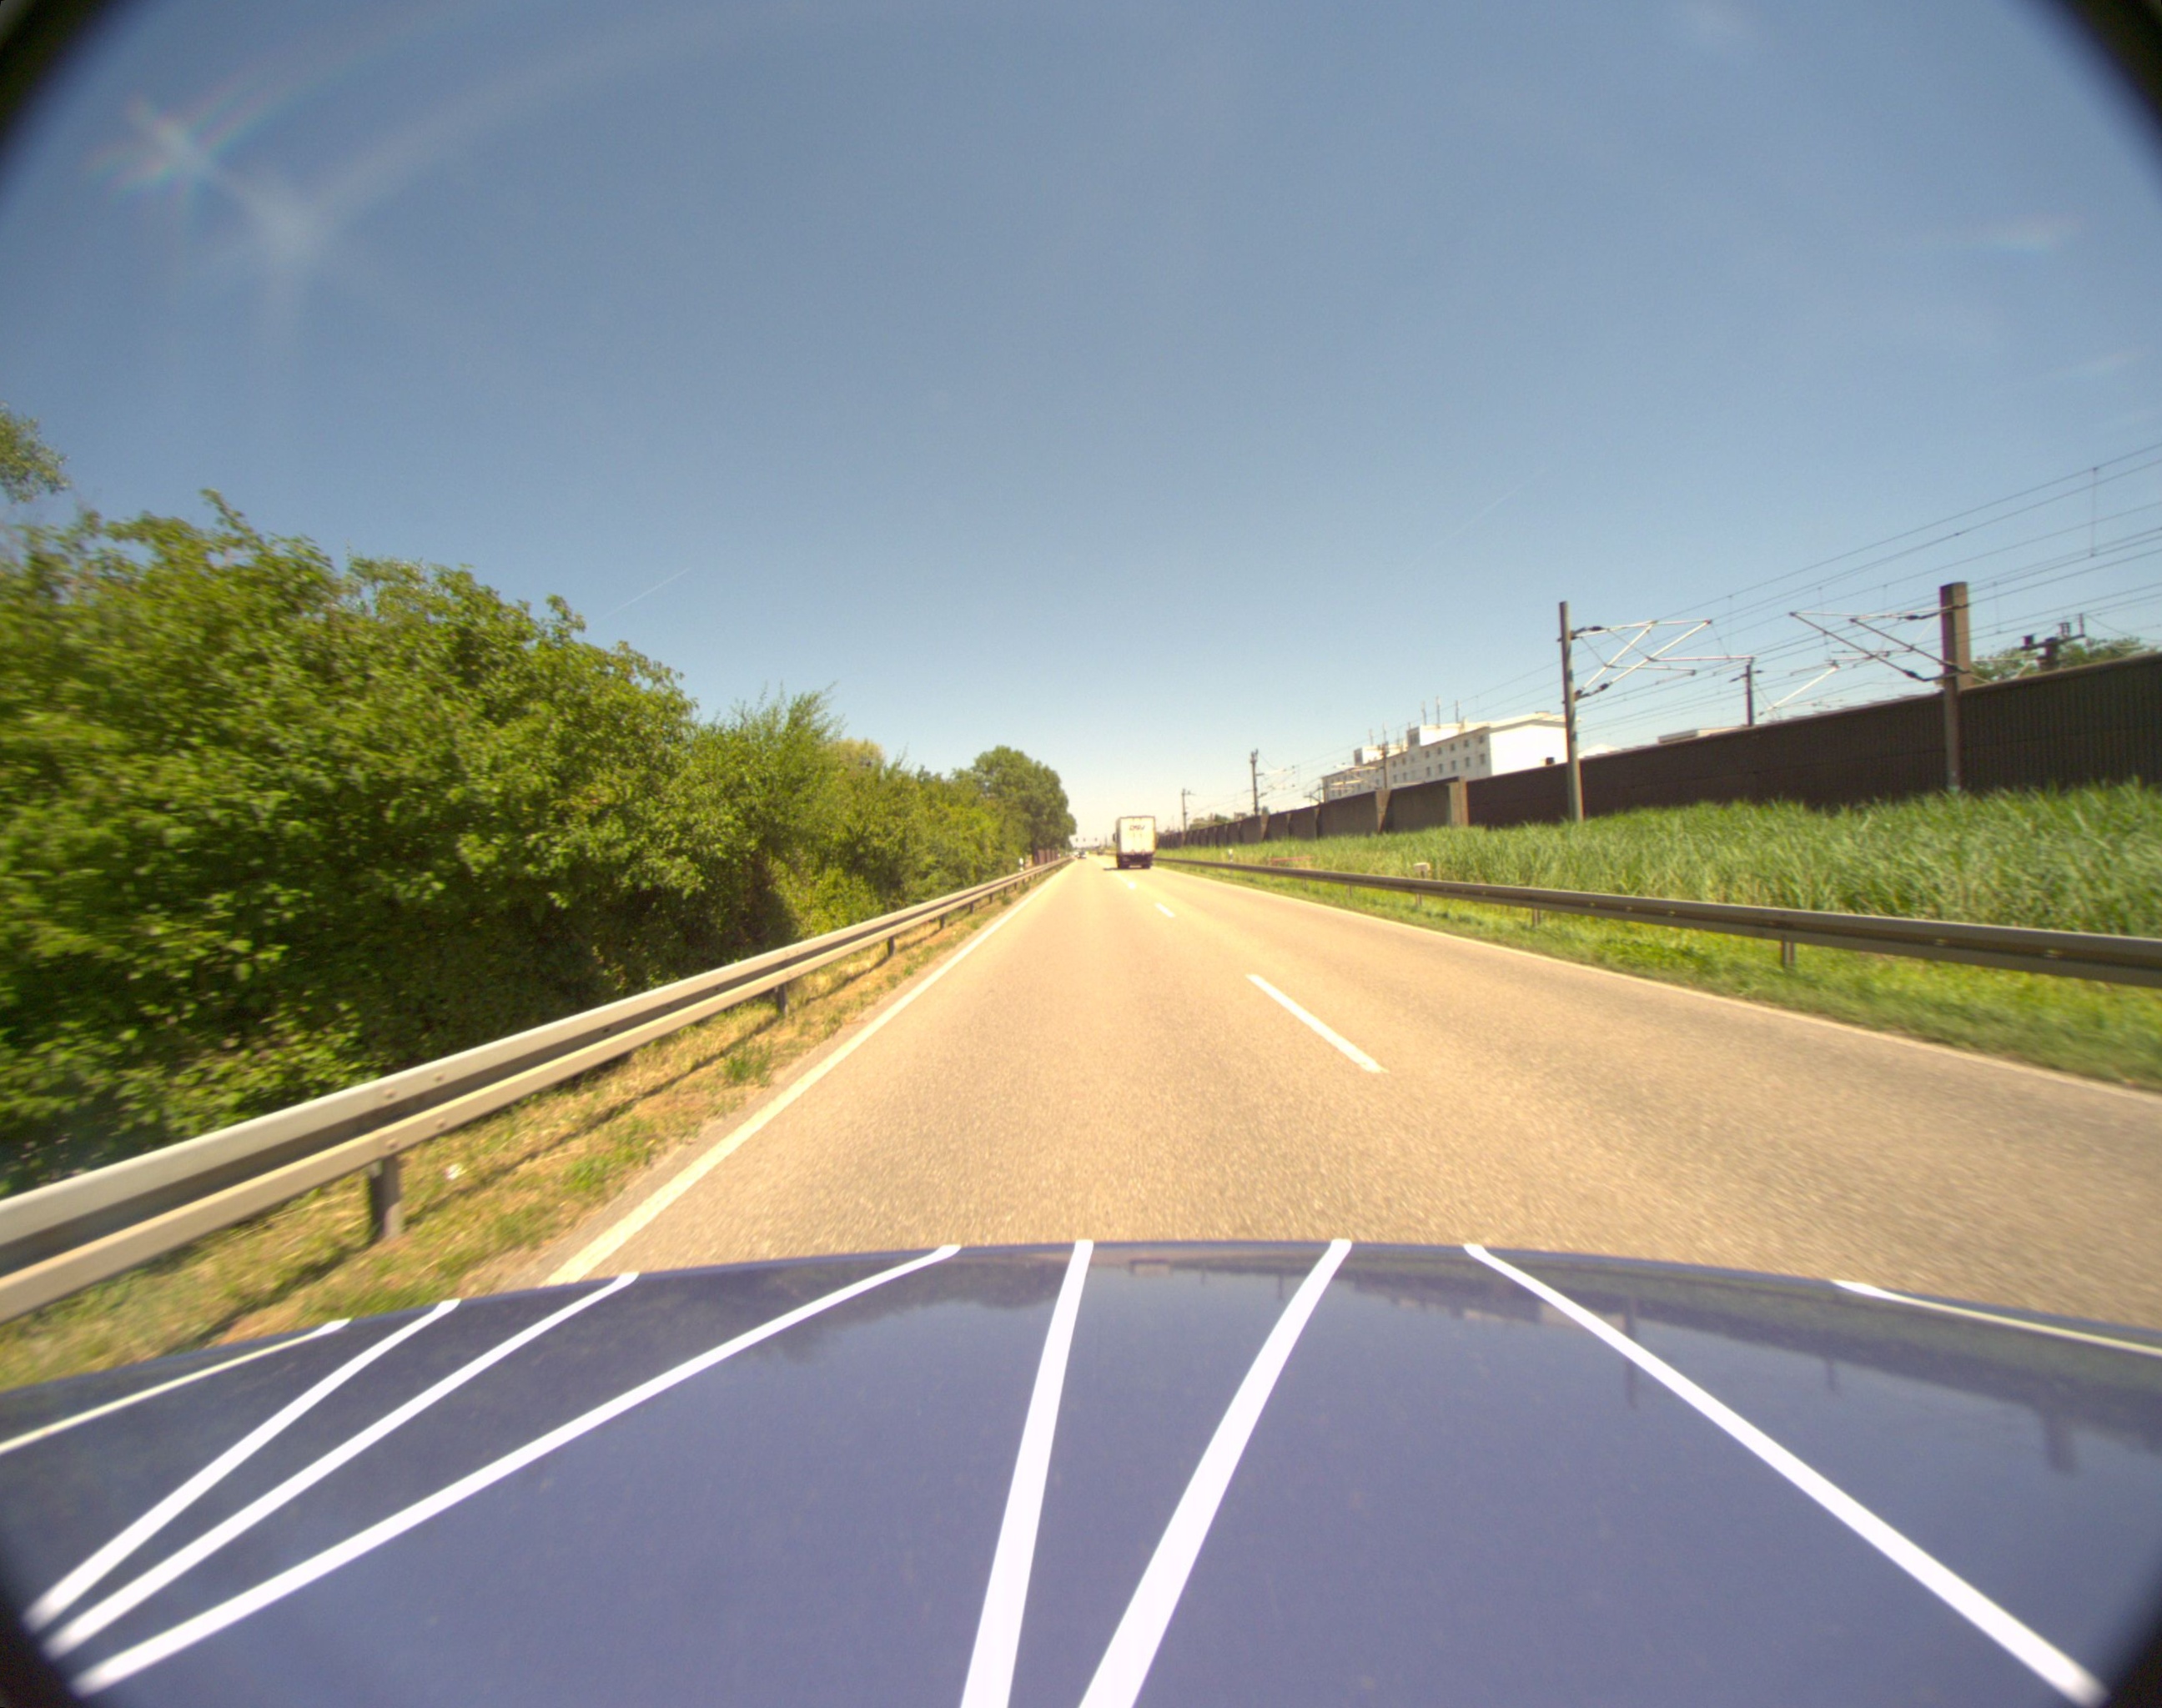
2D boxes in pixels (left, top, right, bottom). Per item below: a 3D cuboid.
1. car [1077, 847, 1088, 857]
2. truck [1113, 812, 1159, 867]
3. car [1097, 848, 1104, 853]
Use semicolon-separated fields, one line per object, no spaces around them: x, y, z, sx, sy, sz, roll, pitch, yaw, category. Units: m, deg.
0.301;-0.412;152.611;1.999;2.002;3.999;-2;1;-1;car
4.280;-1.127;61.651;2.804;3.955;10.497;-2;1;0;truck
6.323;-1.055;243.809;1.999;1.499;3.999;-2;1;-1;car
